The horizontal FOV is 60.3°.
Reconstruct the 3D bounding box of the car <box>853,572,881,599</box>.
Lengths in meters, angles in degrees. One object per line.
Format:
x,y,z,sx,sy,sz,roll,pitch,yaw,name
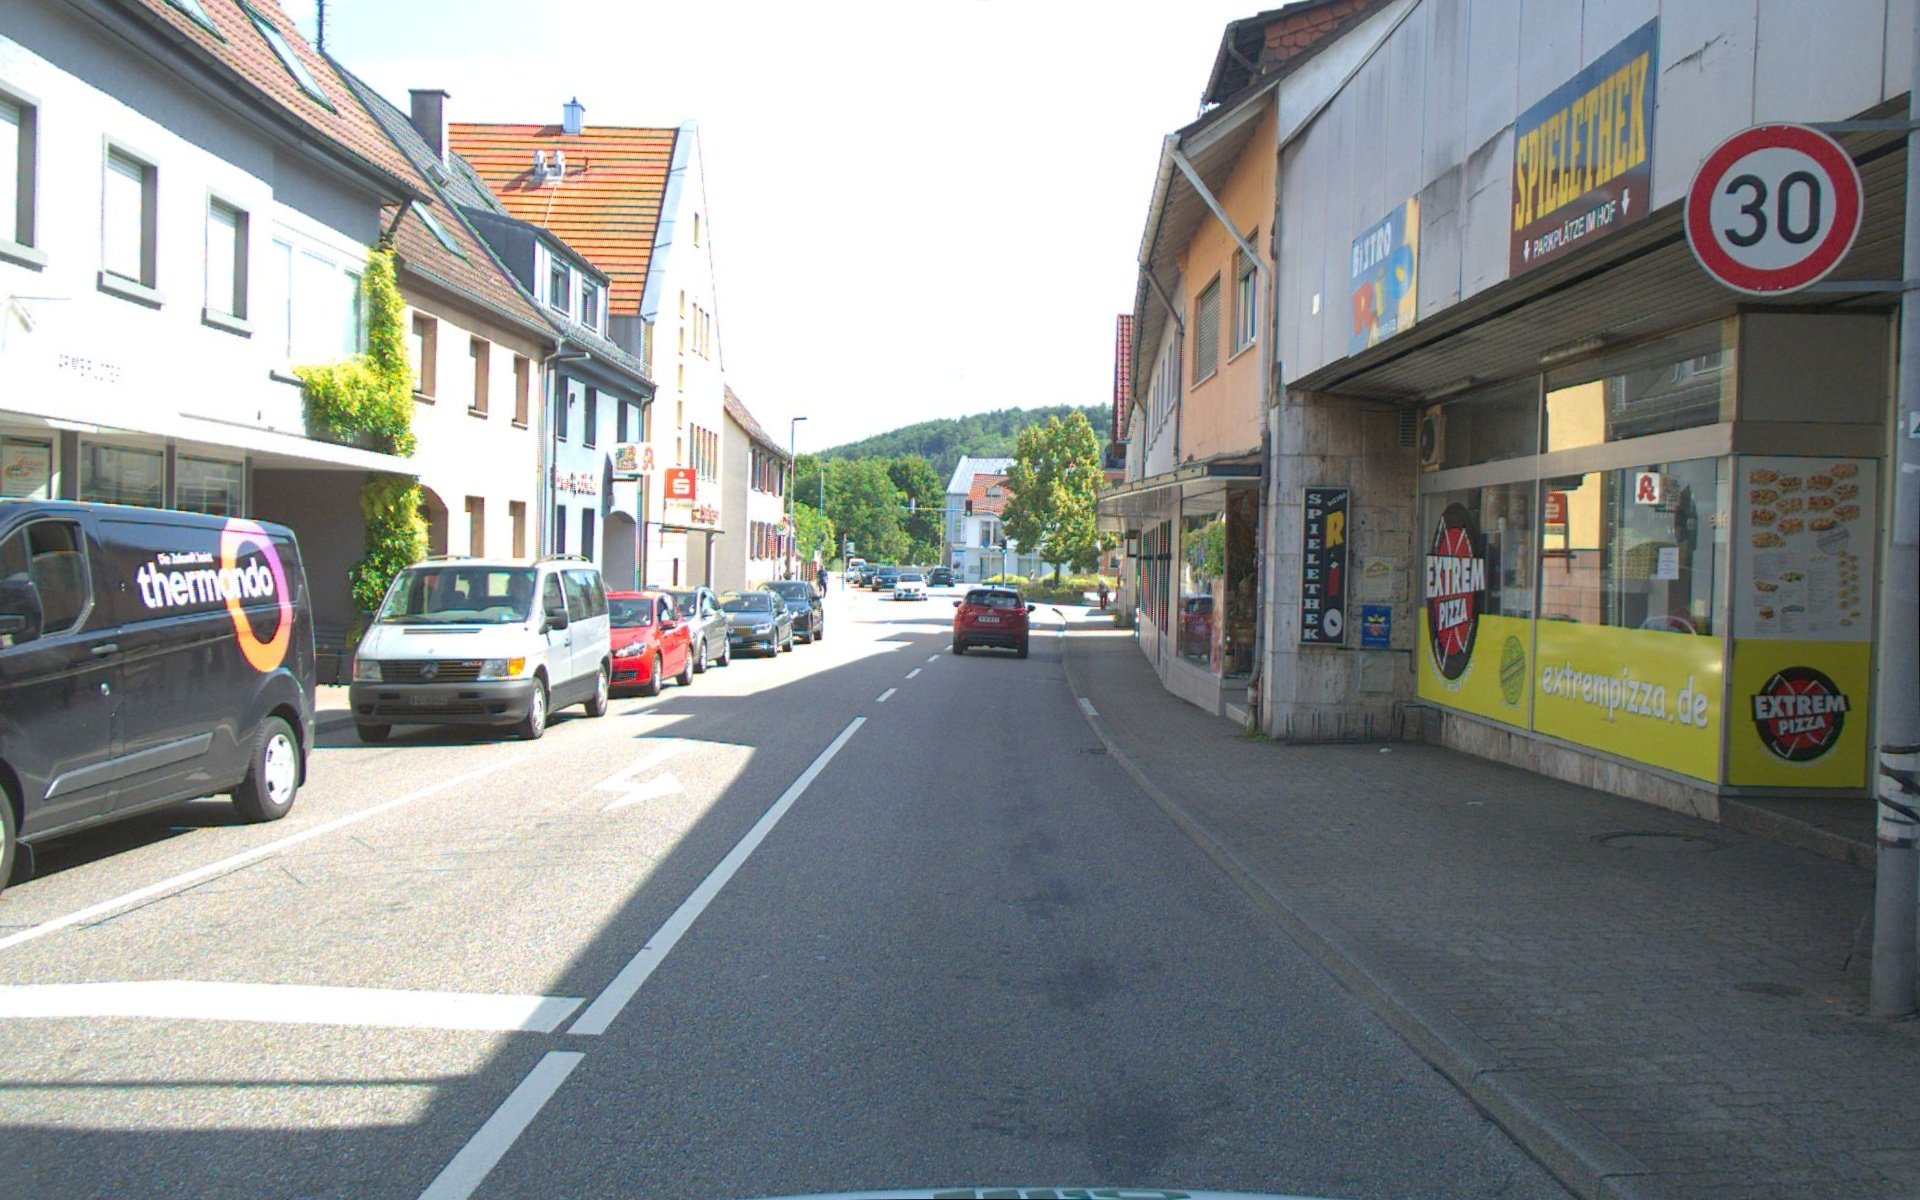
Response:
-6.798,-1.058,120.765,1.738,1.816,3.839,1,-1,1,car

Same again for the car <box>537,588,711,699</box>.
-4.937,0.585,24.823,1.722,1.518,4.076,0,0,1,car

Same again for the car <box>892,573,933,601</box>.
-2.646,-0.730,93.489,1.946,1.469,5.103,1,0,3,car

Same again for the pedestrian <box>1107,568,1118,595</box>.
10.734,-1.287,116.438,0.629,1.912,0.652,1,-2,-4,pedestrian

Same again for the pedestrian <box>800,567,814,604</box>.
-7.982,-0.756,86.339,0.652,1.856,0.798,1,-2,-4,pedestrian

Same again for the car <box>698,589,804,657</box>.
-4.732,0.483,37.976,1.751,1.476,4.425,0,0,2,car

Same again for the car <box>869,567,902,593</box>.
-4.979,-1.367,110.418,1.801,1.559,4.255,1,2,3,car

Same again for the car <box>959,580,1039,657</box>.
0.984,0.414,41.010,1.820,1.744,4.423,2,1,1,car

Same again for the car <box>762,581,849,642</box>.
-4.227,0.285,45.872,1.828,1.617,4.519,0,0,2,car

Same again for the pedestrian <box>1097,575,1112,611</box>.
7.154,-0.358,81.745,0.629,1.737,0.700,1,-2,-4,pedestrian

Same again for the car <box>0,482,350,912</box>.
-5.397,0.433,9.074,2.114,1.957,5.166,0,0,1,car

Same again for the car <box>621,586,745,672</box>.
-5.273,0.515,31.891,1.595,1.547,4.020,0,0,2,car

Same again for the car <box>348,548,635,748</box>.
-4.996,0.448,18.334,1.845,1.923,4.552,0,0,0,car

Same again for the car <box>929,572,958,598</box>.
-1.225,-1.103,125.092,1.892,1.825,3.957,1,-1,3,car
